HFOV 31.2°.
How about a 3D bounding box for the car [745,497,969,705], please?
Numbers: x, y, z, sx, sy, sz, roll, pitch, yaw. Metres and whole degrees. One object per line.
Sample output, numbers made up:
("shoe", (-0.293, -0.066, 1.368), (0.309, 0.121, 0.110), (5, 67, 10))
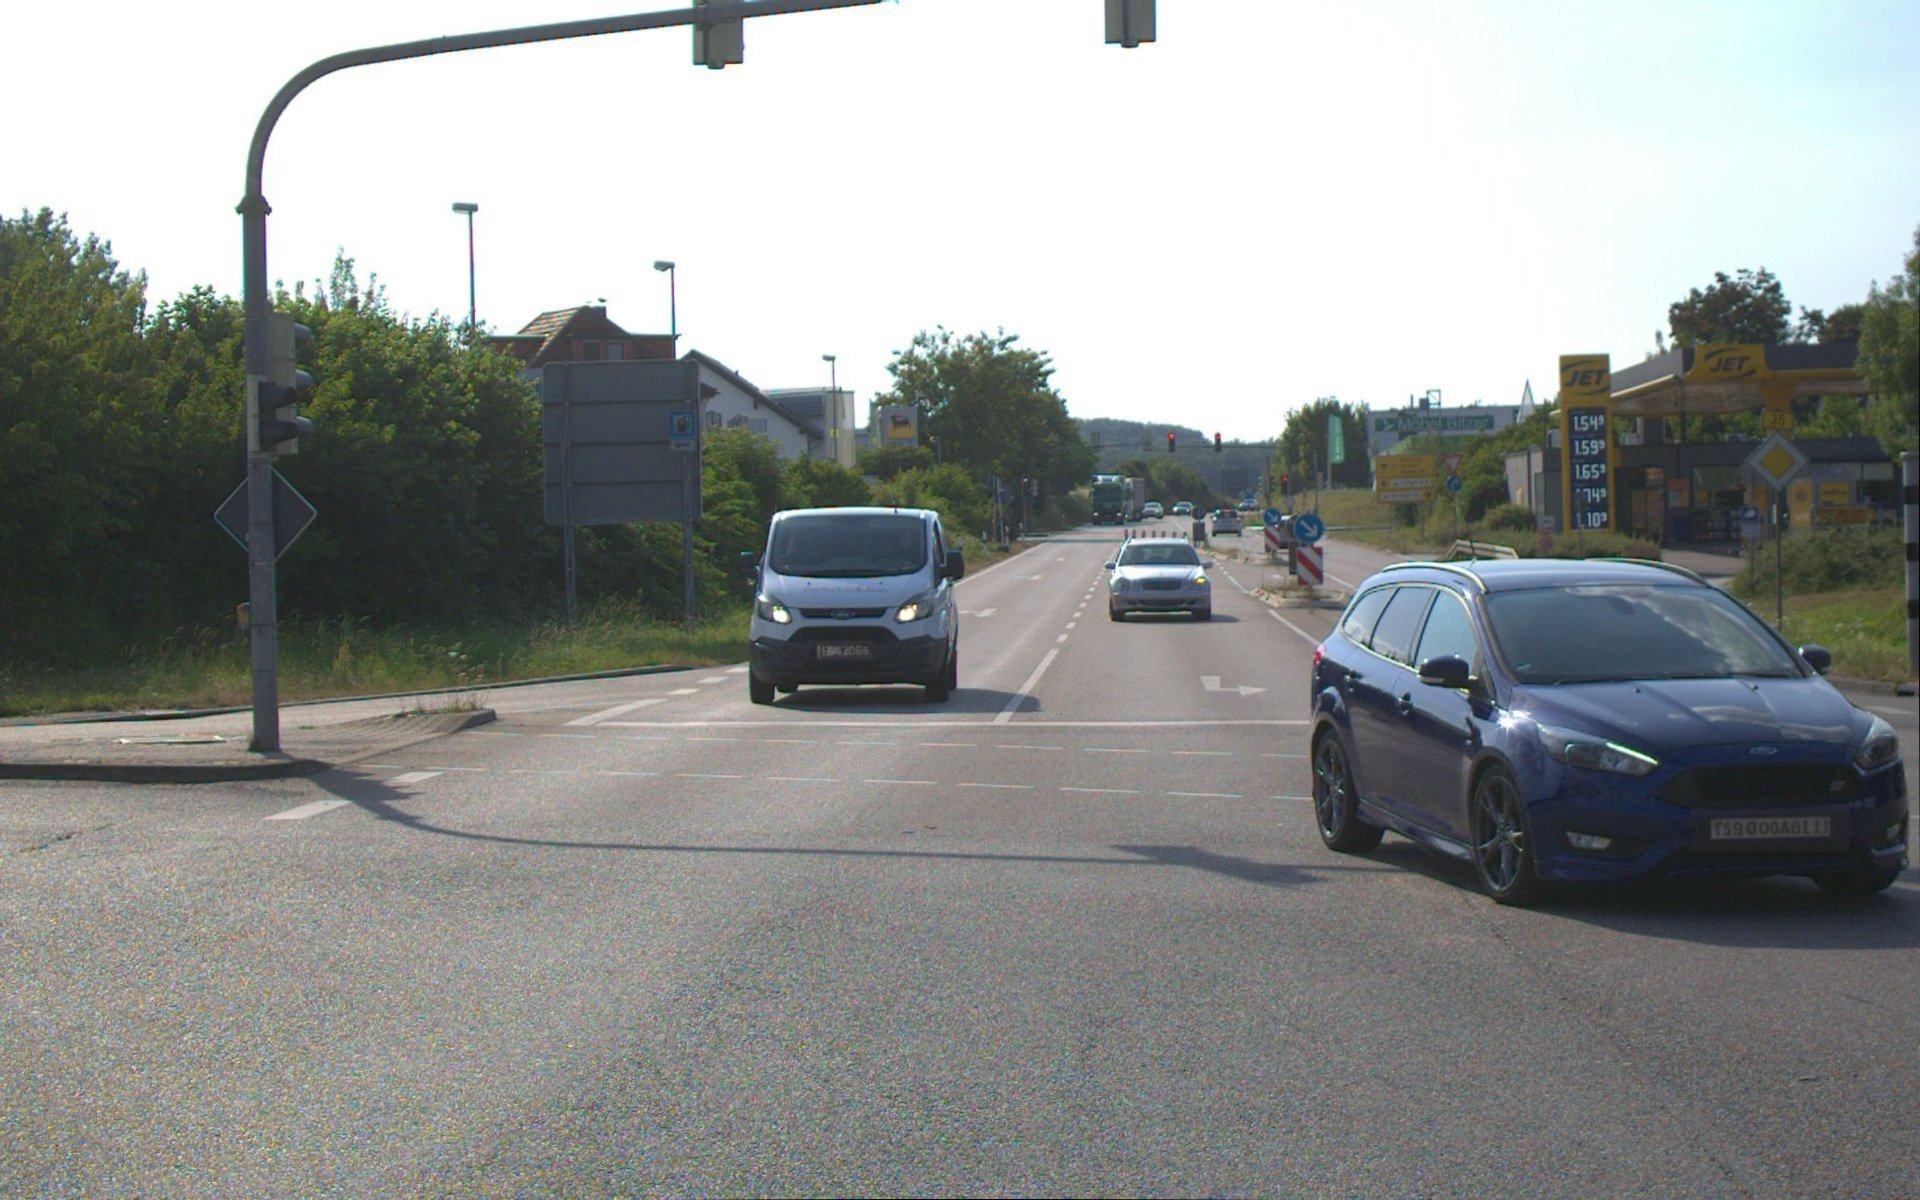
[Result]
("car", (-0.989, -0.066, 35.525), (1.900, 1.941, 4.818), (1, 2, 3))

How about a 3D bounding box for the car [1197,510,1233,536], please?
("car", (14.447, -4.365, 195.021), (1.740, 1.347, 3.204), (1, 0, -1))

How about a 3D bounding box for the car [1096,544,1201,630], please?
("car", (3.483, -0.243, 63.947), (1.857, 1.508, 4.953), (1, 0, 3))

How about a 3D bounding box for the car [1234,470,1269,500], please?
("car", (20.654, -8.126, 243.685), (1.993, 2.007, 4.000), (1, 0, -1))

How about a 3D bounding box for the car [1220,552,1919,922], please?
("car", (2.813, 0.545, 16.204), (1.787, 1.492, 4.303), (1, 0, -16))
